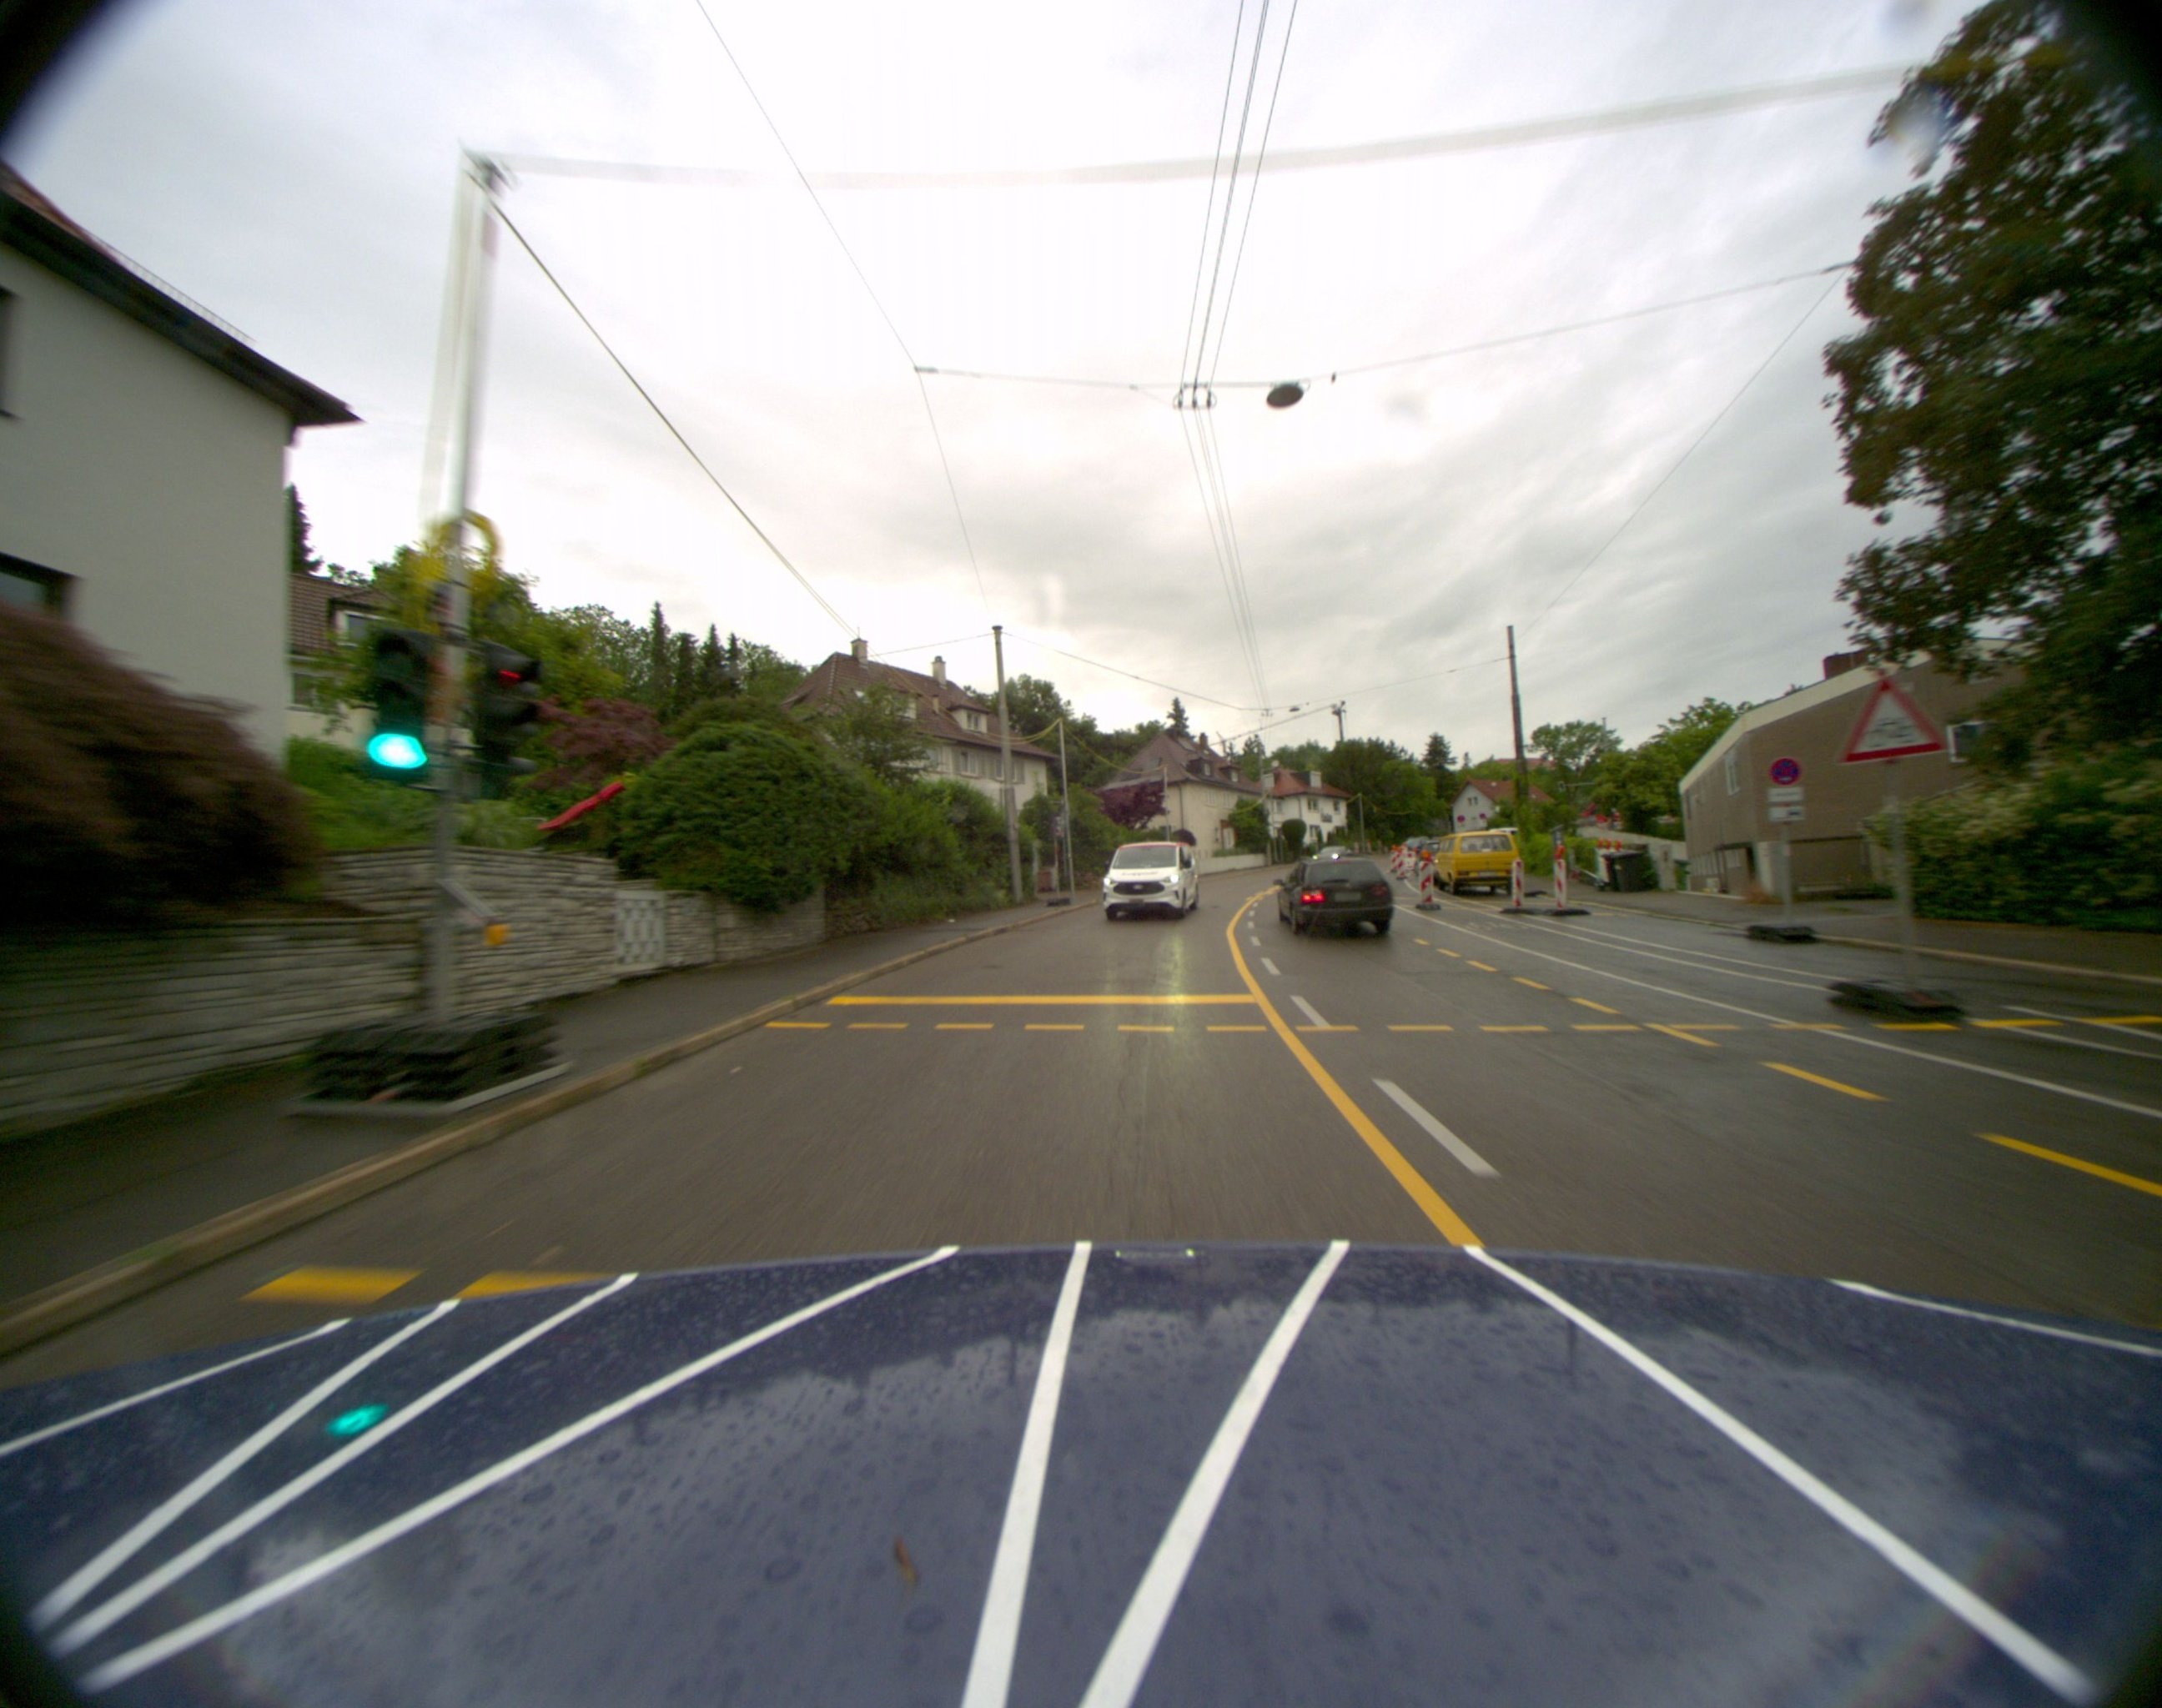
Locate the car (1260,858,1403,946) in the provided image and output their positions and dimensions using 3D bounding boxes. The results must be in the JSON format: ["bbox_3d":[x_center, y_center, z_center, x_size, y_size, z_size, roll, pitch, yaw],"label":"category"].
[{"bbox_3d":[4.888,0.852,15.500,1.702,1.452,4.685,-2,0,5],"label":"car"}]

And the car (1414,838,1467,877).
[{"bbox_3d":[16.630,0.106,35.337,1.722,1.598,4.468,-3,0,20],"label":"car"}]

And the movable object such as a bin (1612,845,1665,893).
[{"bbox_3d":[14.270,0.374,19.473,0.860,1.134,0.713,-3,1,16],"label":"movable object such as a bin"}]

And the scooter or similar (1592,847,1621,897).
[{"bbox_3d":[14.275,0.474,20.657,0.399,1.253,1.319,-6,0,28],"label":"scooter or similar"}]

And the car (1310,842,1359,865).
[{"bbox_3d":[19.076,-0.067,57.049,1.985,1.428,4.523,-4,0,38],"label":"car"}]

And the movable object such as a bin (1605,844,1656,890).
[{"bbox_3d":[14.574,0.342,20.166,0.860,1.134,0.713,-3,1,16],"label":"movable object such as a bin"}]

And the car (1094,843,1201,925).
[{"bbox_3d":[1.911,0.707,20.308,2.039,1.928,4.520,-1,0,15],"label":"car"}]

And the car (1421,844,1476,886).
[{"bbox_3d":[14.535,0.392,30.176,1.576,1.446,3.468,-2,1,20],"label":"car"}]

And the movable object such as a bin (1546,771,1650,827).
[{"bbox_3d":[68.735,-7.275,101.272,7.046,6.515,9.037,-5,1,-28],"label":"movable object such as a bin"}]

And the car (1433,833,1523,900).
[{"bbox_3d":[12.682,0.334,24.560,1.805,1.917,4.582,-2,1,18],"label":"car"}]

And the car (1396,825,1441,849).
[{"bbox_3d":[31.409,-1.565,70.710,4.006,1.928,2.011,-5,2,-37],"label":"car"}]

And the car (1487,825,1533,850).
[{"bbox_3d":[34.387,-1.357,60.867,4.471,1.790,1.806,-4,0,-42],"label":"car"}]
